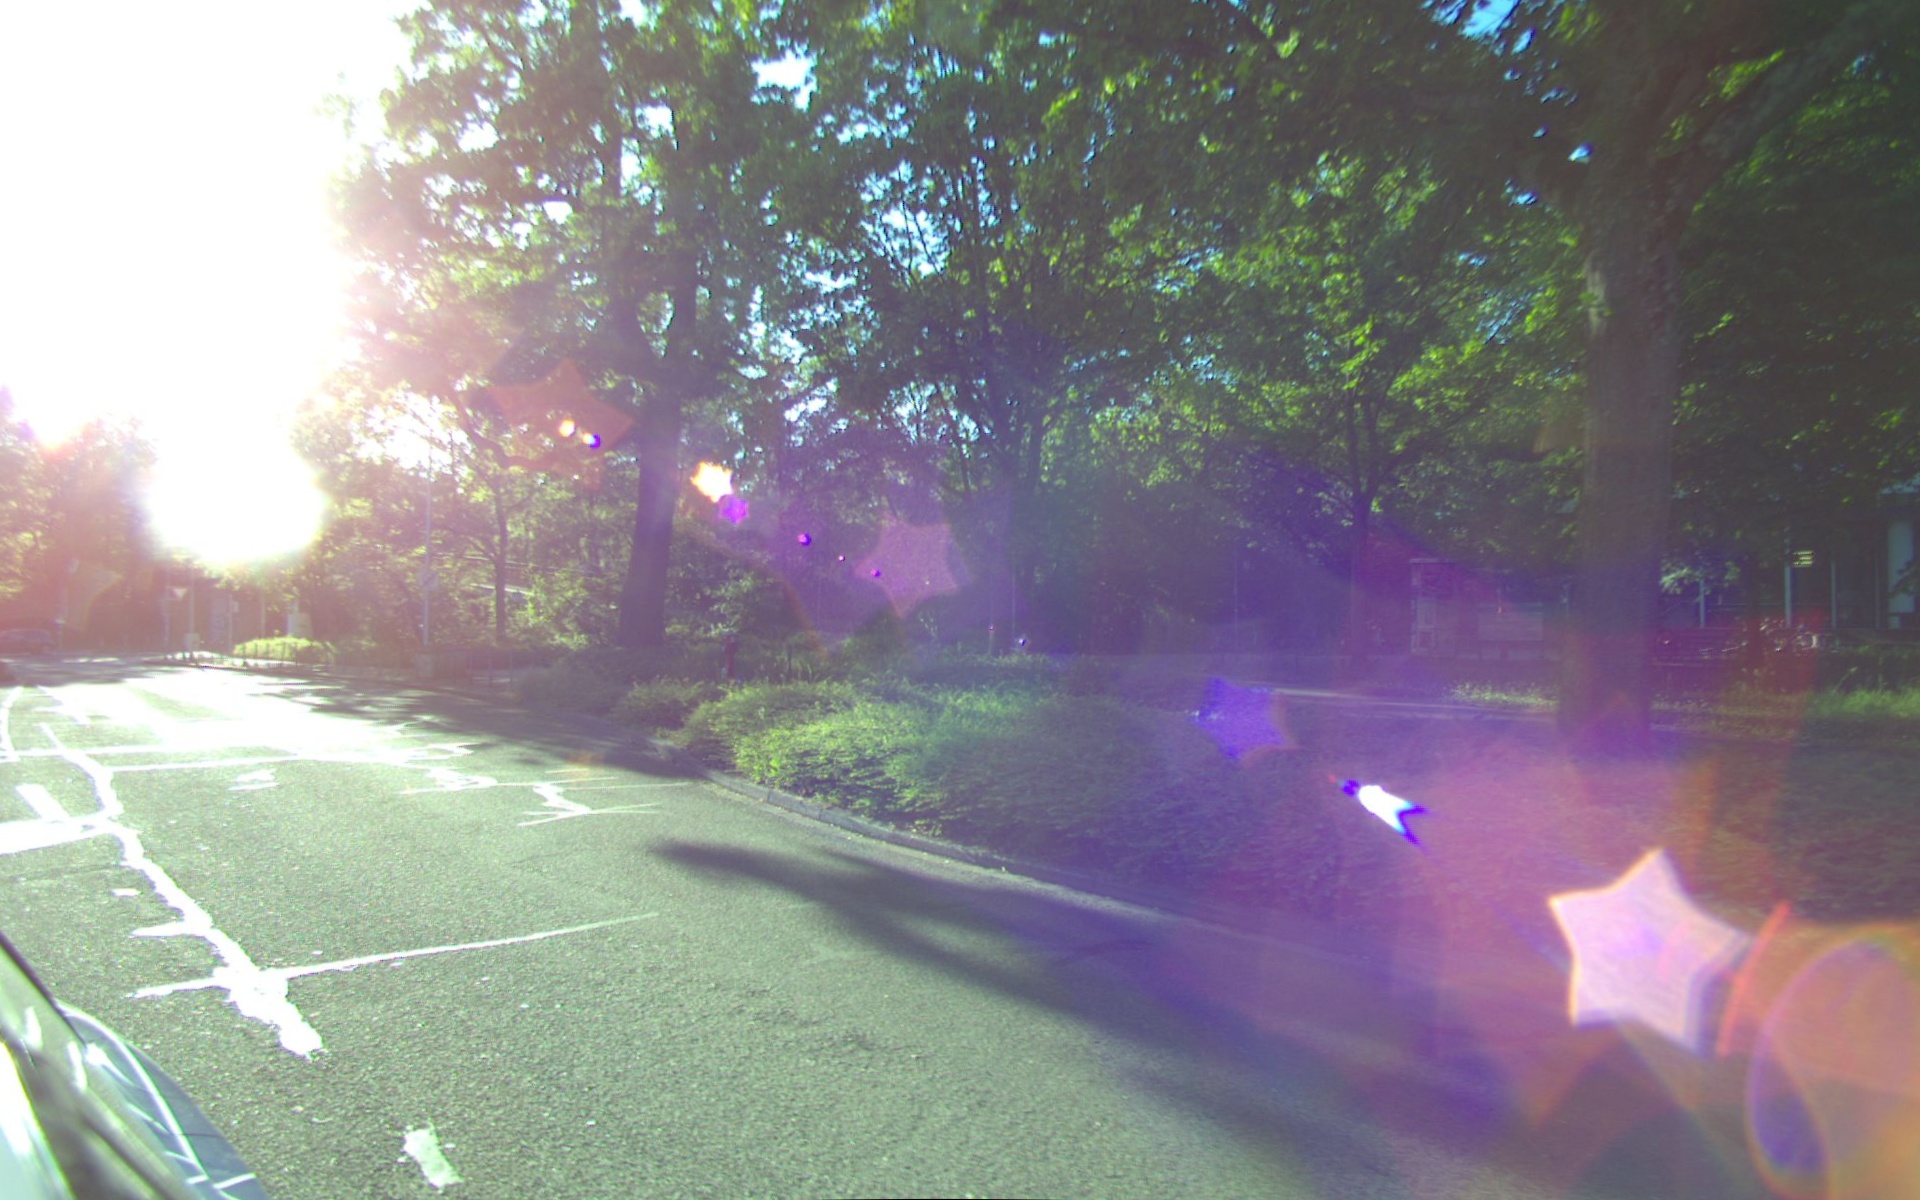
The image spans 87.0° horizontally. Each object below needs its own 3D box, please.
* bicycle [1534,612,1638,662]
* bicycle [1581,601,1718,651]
[{"bbox_3d":[14.864,0.859,24.129,0.528,1.079,2.435,-4,0,-11],"label":"bicycle"},{"bbox_3d":[16.296,0.622,24.021,0.528,1.079,2.642,-5,1,-32],"label":"bicycle"}]
